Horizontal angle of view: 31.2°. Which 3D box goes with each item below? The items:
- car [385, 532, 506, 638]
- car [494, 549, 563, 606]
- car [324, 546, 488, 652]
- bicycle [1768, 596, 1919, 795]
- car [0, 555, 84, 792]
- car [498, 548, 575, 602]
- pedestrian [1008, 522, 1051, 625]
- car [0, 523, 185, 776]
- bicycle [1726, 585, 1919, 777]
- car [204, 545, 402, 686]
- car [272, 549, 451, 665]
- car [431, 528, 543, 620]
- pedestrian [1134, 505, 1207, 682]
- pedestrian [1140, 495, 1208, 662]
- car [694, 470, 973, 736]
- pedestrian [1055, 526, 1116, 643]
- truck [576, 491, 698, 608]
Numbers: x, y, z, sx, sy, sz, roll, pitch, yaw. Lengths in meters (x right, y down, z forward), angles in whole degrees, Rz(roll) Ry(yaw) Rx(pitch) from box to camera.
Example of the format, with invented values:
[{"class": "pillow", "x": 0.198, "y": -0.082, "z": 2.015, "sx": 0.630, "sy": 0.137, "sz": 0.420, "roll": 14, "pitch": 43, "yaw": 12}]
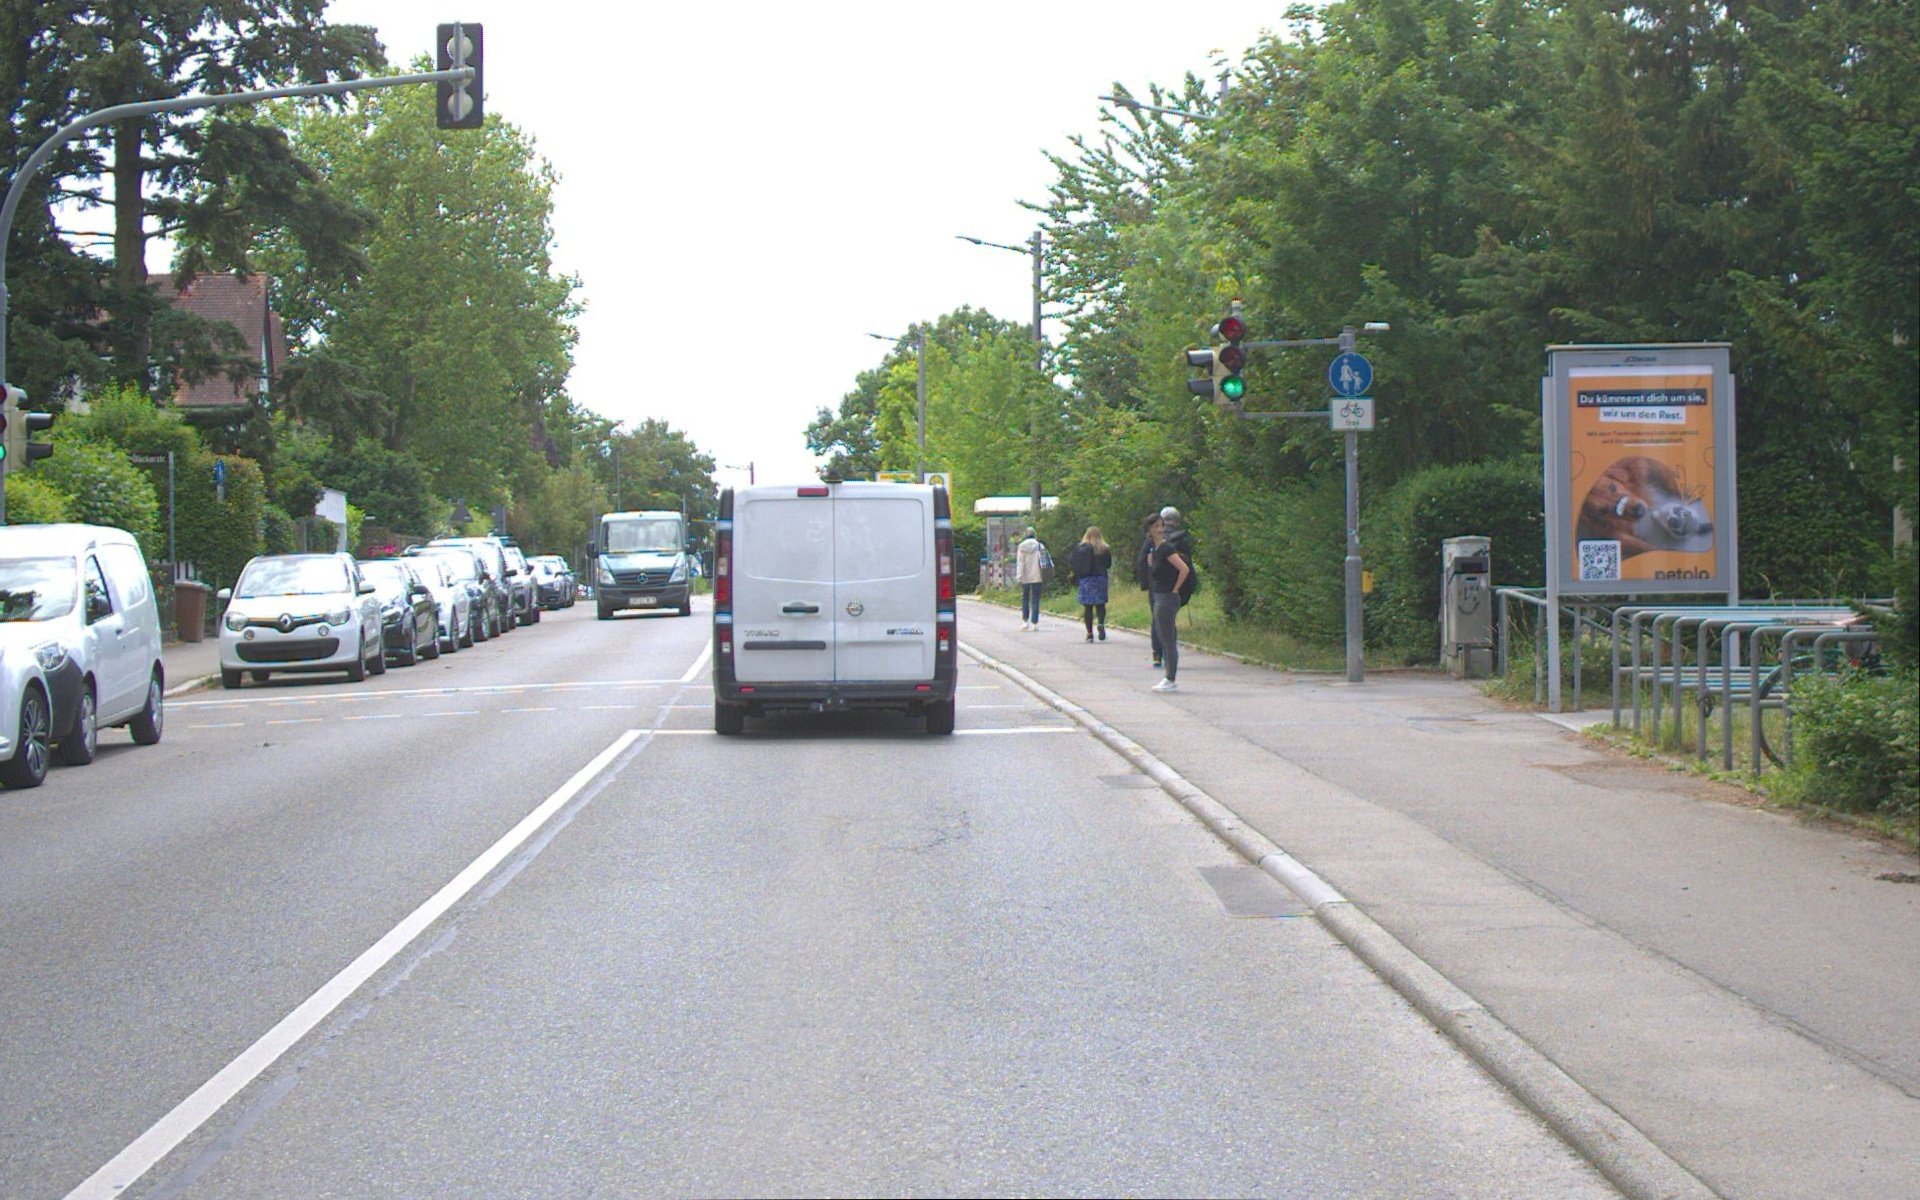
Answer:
[{"class": "car", "x": -8.845, "y": -0.292, "z": 59.381, "sx": 1.626, "sy": 1.672, "sz": 4.584, "roll": -3, "pitch": 1, "yaw": -4}, {"class": "car", "x": -11.594, "y": -0.629, "z": 92.222, "sx": 1.651, "sy": 1.422, "sz": 3.907, "roll": -2, "pitch": 1, "yaw": -9}, {"class": "car", "x": -8.470, "y": -0.050, "z": 52.942, "sx": 1.805, "sy": 1.454, "sz": 5.069, "roll": -2, "pitch": 1, "yaw": -2}, {"class": "bicycle", "x": 5.532, "y": 0.536, "z": 18.744, "sx": 2.088, "sy": 1.044, "sz": 0.559, "roll": 2, "pitch": 1, "yaw": 0}, {"class": "car", "x": -6.832, "y": 0.523, "z": 20.974, "sx": 1.705, "sy": 1.448, "sz": 4.357, "roll": -4, "pitch": 1, "yaw": 1}, {"class": "car", "x": -11.947, "y": -0.717, "z": 97.128, "sx": 1.867, "sy": 1.454, "sz": 4.489, "roll": -1, "pitch": 1, "yaw": -3}, {"class": "pedestrian", "x": 1.133, "y": -0.436, "z": 56.200, "sx": 0.686, "sy": 1.653, "sz": 0.690, "roll": 1, "pitch": 1, "yaw": 1}, {"class": "car", "x": -7.213, "y": 0.322, "z": 26.371, "sx": 1.676, "sy": 1.752, "sz": 4.608, "roll": -2, "pitch": 1, "yaw": -3}, {"class": "bicycle", "x": 5.605, "y": 0.456, "z": 20.152, "sx": 2.088, "sy": 1.077, "sz": 0.547, "roll": -1, "pitch": 1, "yaw": 0}, {"class": "car", "x": -7.884, "y": 0.154, "z": 41.533, "sx": 1.702, "sy": 1.538, "sz": 3.743, "roll": -2, "pitch": 1, "yaw": -1}, {"class": "car", "x": -8.129, "y": 0.059, "z": 47.026, "sx": 1.742, "sy": 1.405, "sz": 4.324, "roll": -2, "pitch": 1, "yaw": -1}, {"class": "car", "x": -9.786, "y": -0.575, "z": 71.460, "sx": 1.984, "sy": 1.812, "sz": 4.708, "roll": -1, "pitch": 1, "yaw": -4}, {"class": "pedestrian", "x": 1.997, "y": -0.067, "z": 32.693, "sx": 0.647, "sy": 1.658, "sz": 0.708, "roll": 1, "pitch": 1, "yaw": 2}, {"class": "pedestrian", "x": 2.435, "y": -0.244, "z": 39.178, "sx": 0.745, "sy": 1.876, "sz": 0.801, "roll": 1, "pitch": 1, "yaw": 3}, {"class": "car", "x": -1.037, "y": -0.010, "z": 27.882, "sx": 2.034, "sy": 1.939, "sz": 4.994, "roll": 1, "pitch": 1, "yaw": -2}, {"class": "pedestrian", "x": 1.801, "y": -0.223, "z": 49.478, "sx": 0.840, "sy": 1.653, "sz": 0.766, "roll": 1, "pitch": 1, "yaw": 1}, {"class": "truck", "x": -7.019, "y": -1.129, "z": 75.386, "sx": 2.189, "sy": 2.363, "sz": 6.905, "roll": -2, "pitch": 1, "yaw": -2}]
